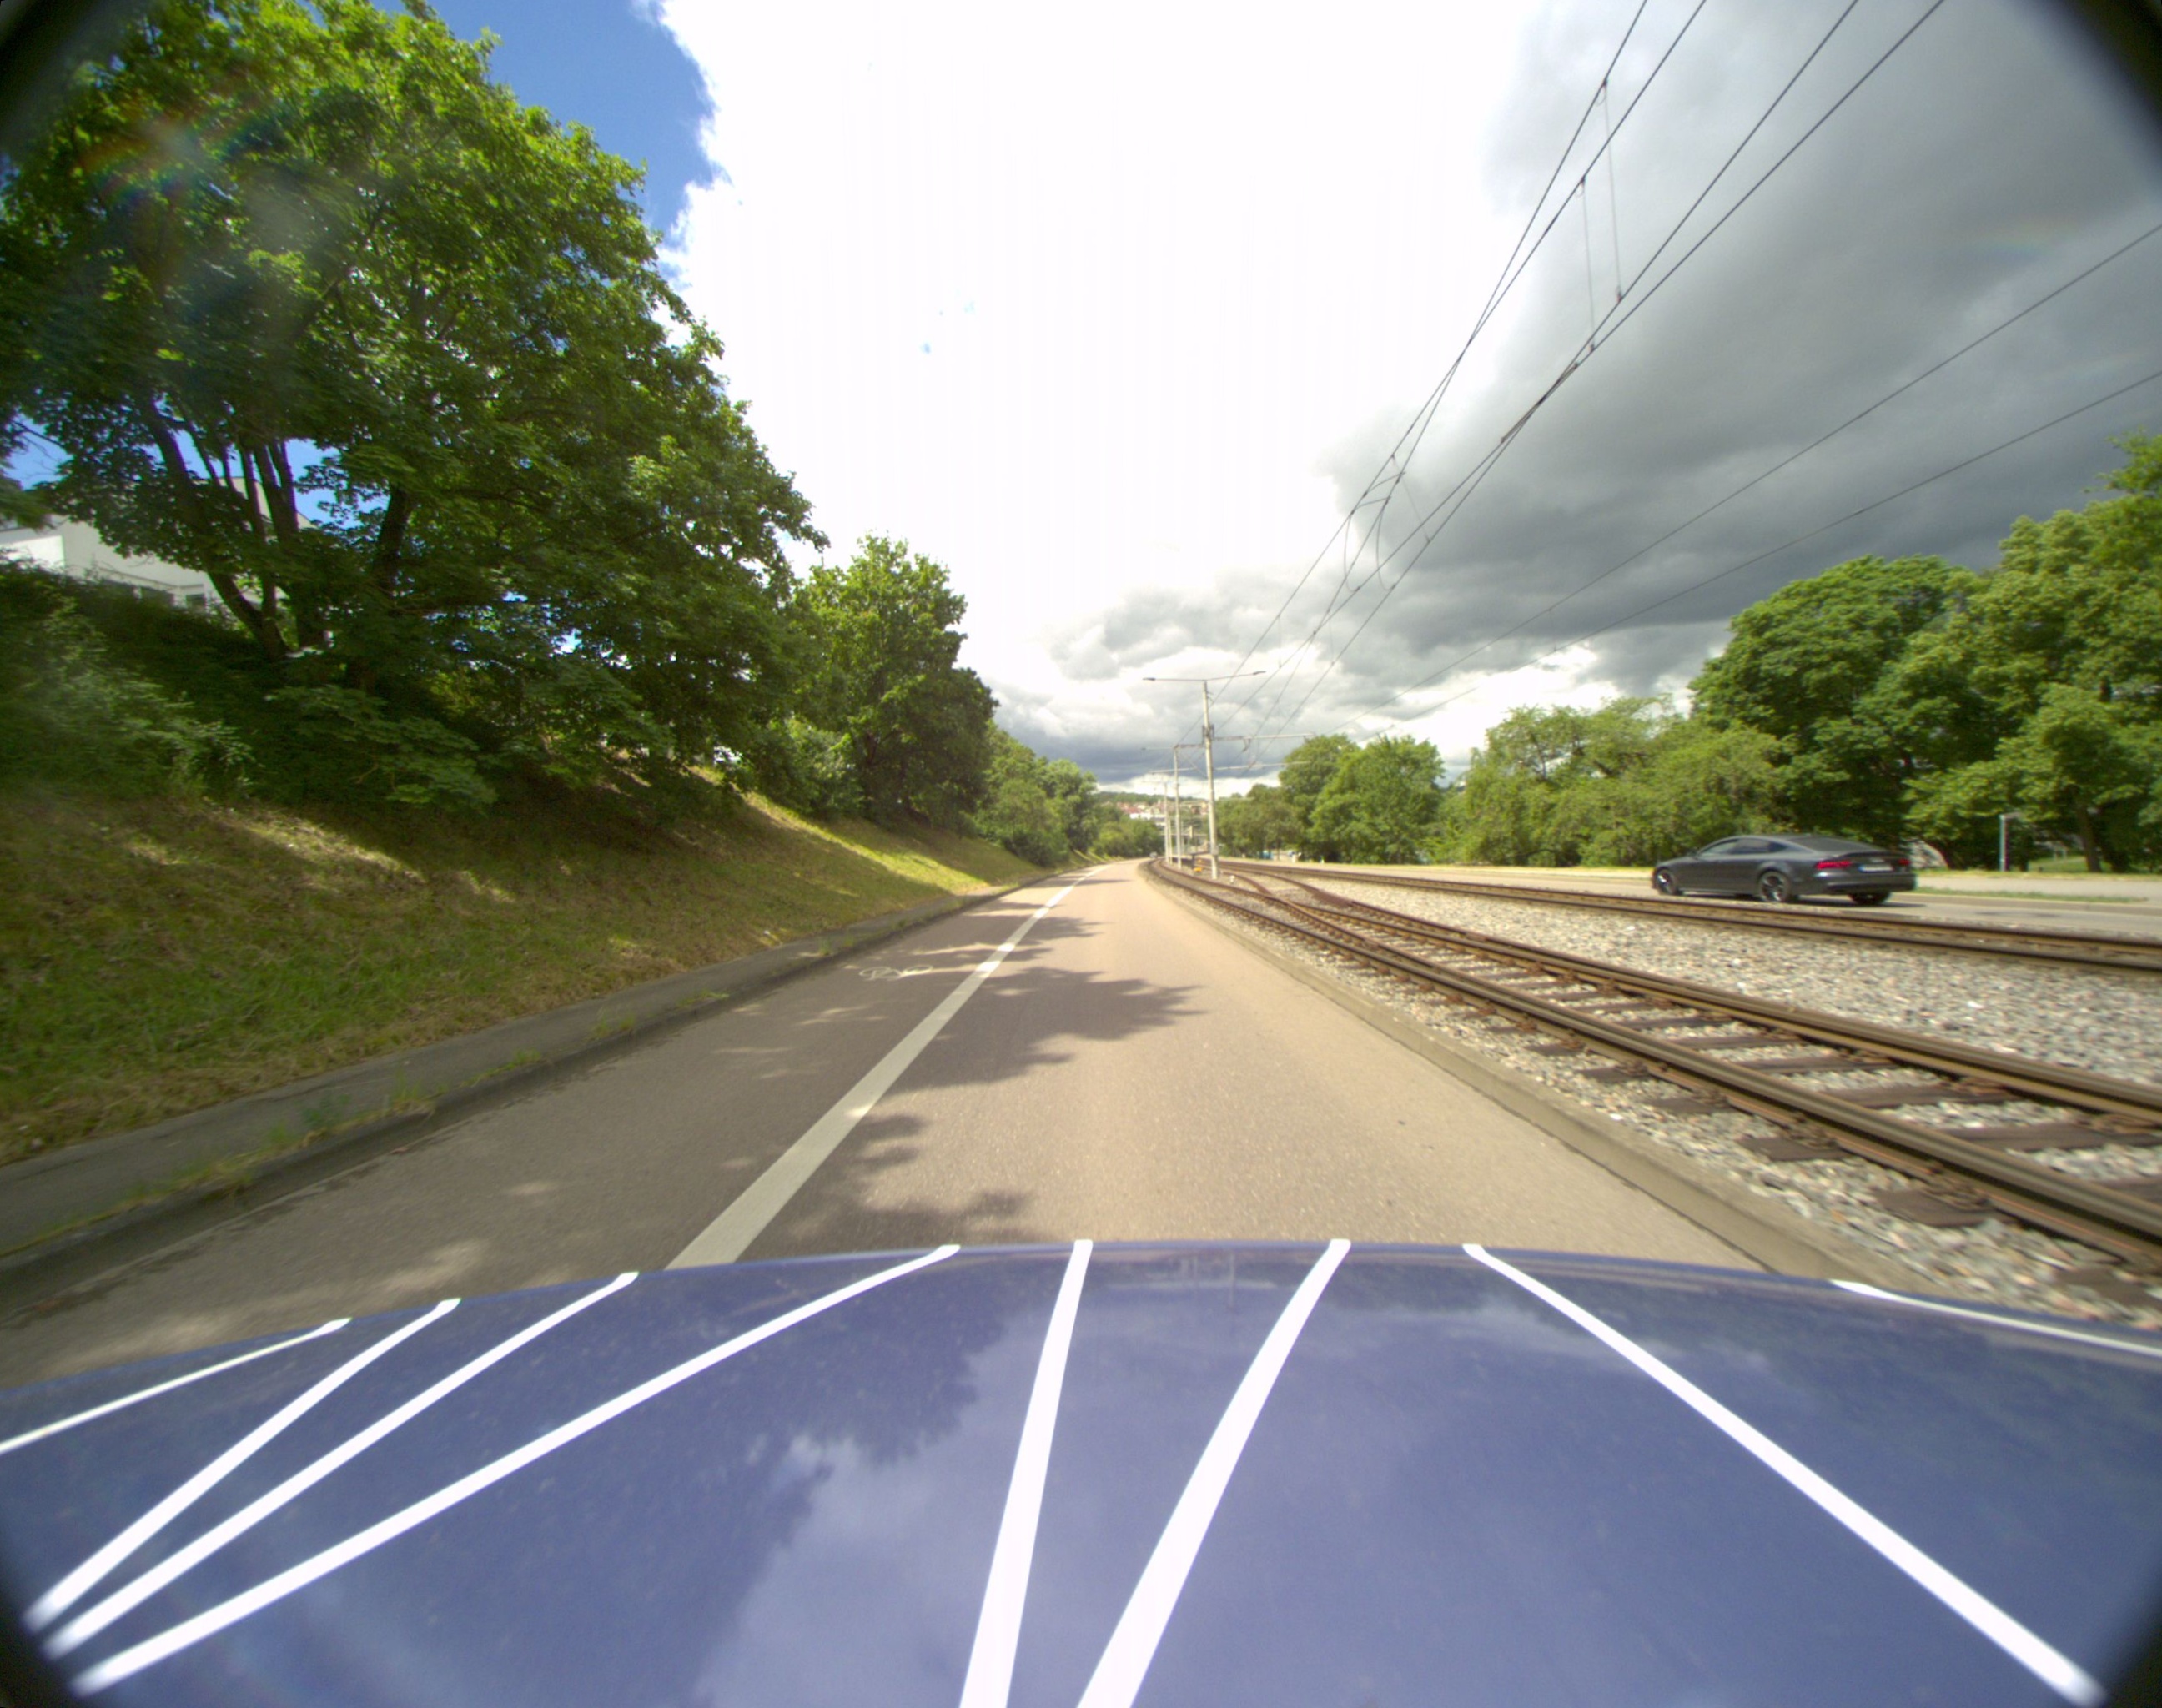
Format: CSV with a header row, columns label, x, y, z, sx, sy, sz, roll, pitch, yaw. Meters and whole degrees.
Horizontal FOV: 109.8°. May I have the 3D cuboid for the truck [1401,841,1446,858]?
label,x,y,z,sx,sy,sz,roll,pitch,yaw
truck,58.901,-0.738,130.891,6.614,2.839,2.681,0,1,9

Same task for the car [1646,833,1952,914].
label,x,y,z,sx,sy,sz,roll,pitch,yaw
car,14.301,0.330,15.664,1.840,1.383,4.862,0,0,2

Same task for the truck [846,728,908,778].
label,x,y,z,sx,sy,sz,roll,pitch,yaw
truck,-14.779,-7.284,55.553,2.356,2.643,7.040,-2,0,1

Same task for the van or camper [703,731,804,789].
label,x,y,z,sx,sy,sz,roll,pitch,yaw
van or camper,-16.002,-4.526,37.610,2.222,2.057,6.162,-2,0,0
